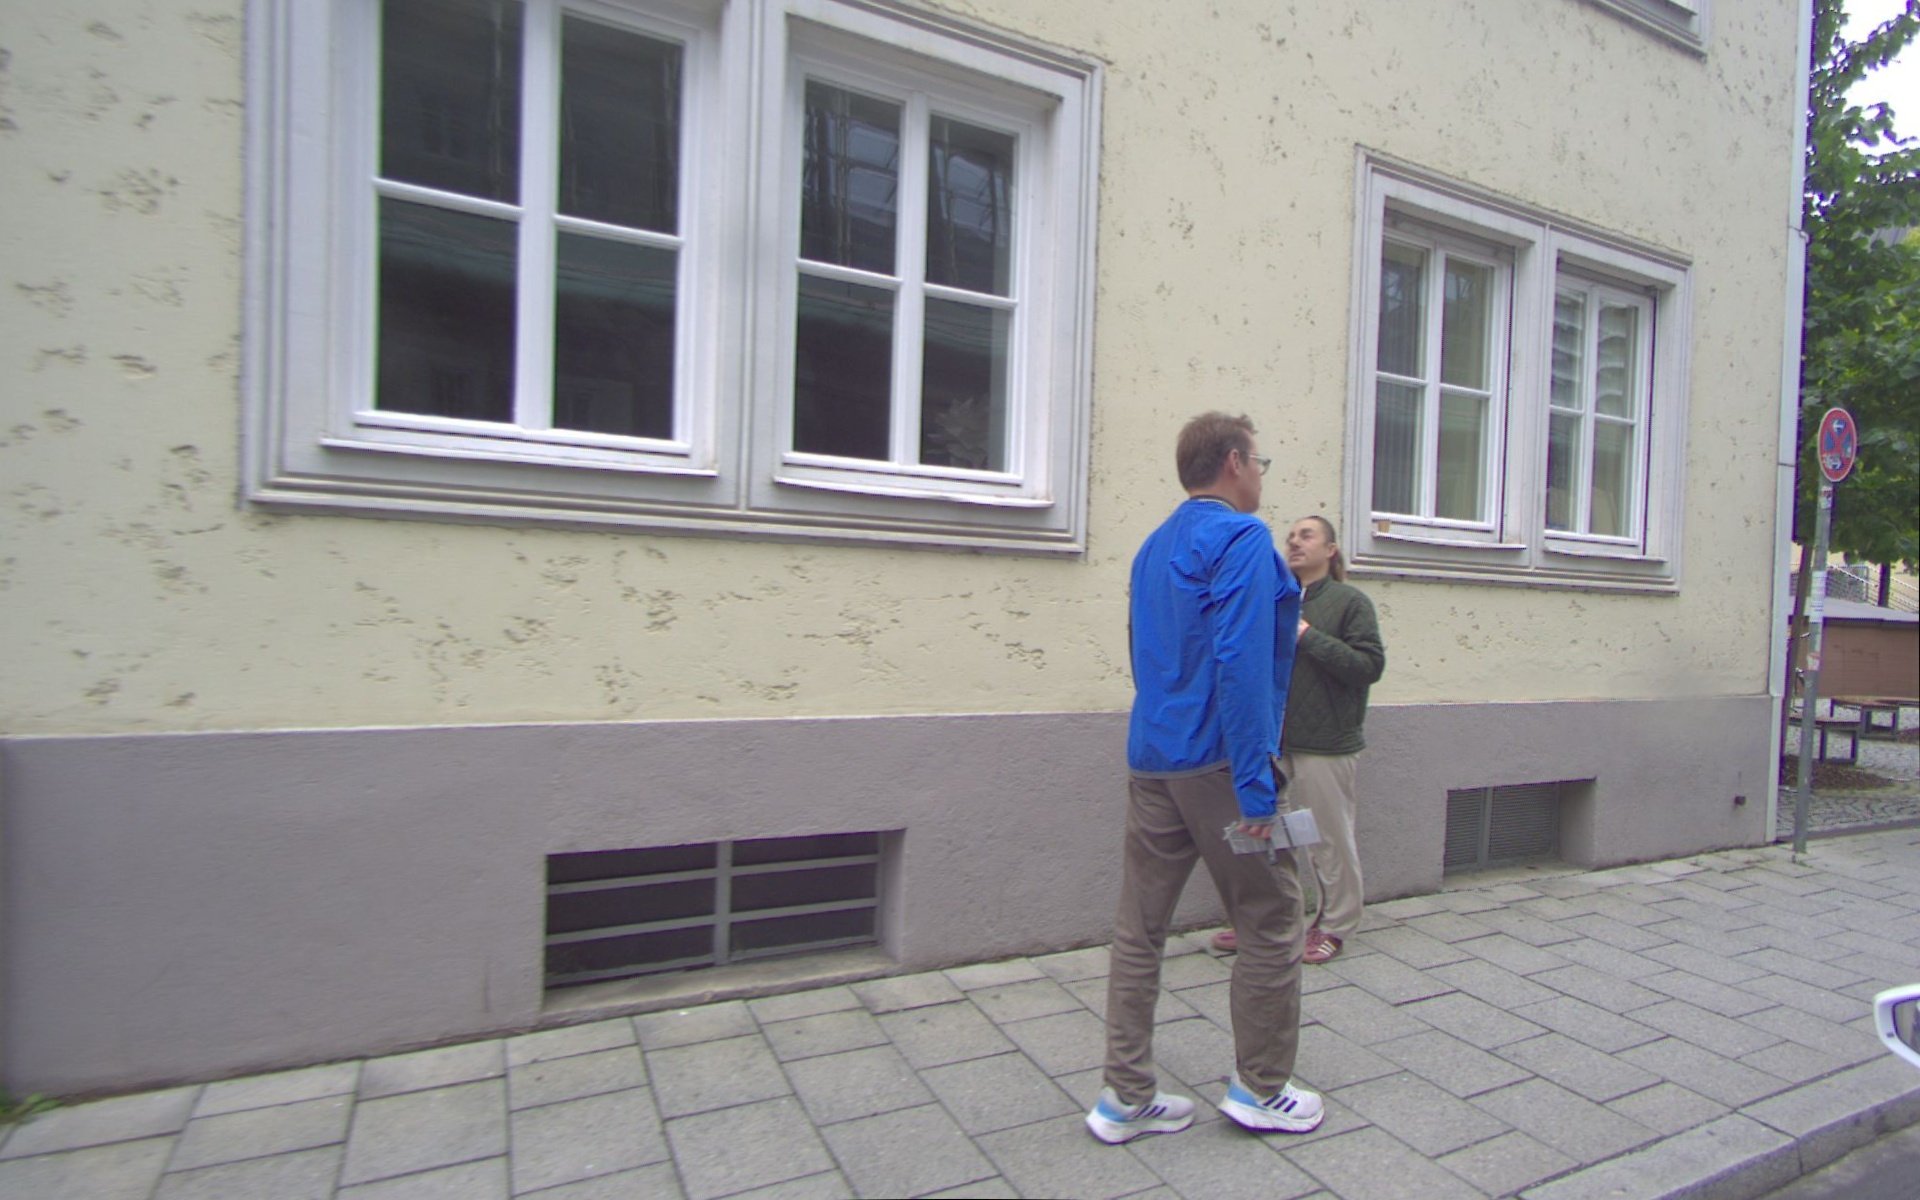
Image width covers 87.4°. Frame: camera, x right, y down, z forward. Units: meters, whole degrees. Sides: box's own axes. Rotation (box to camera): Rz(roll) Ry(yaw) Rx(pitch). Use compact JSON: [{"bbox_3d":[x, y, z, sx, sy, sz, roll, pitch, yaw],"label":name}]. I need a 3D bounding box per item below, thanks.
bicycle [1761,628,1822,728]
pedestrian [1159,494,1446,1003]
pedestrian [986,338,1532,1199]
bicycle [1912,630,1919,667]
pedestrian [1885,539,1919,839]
[{"bbox_3d":[11.222,1.010,13.538,0.544,1.214,1.828,3,2,41],"label":"bicycle"},{"bbox_3d":[1.274,0.499,3.794,0.714,1.699,0.644,2,2,-27],"label":"pedestrian"},{"bbox_3d":[0.749,0.409,2.638,1.063,1.879,0.754,2,2,-26],"label":"pedestrian"},{"bbox_3d":[28.681,1.466,28.966,0.589,1.083,1.652,2,2,-22],"label":"bicycle"},{"bbox_3d":[6.748,0.590,6.390,1.120,1.907,0.864,2,1,-28],"label":"pedestrian"}]
